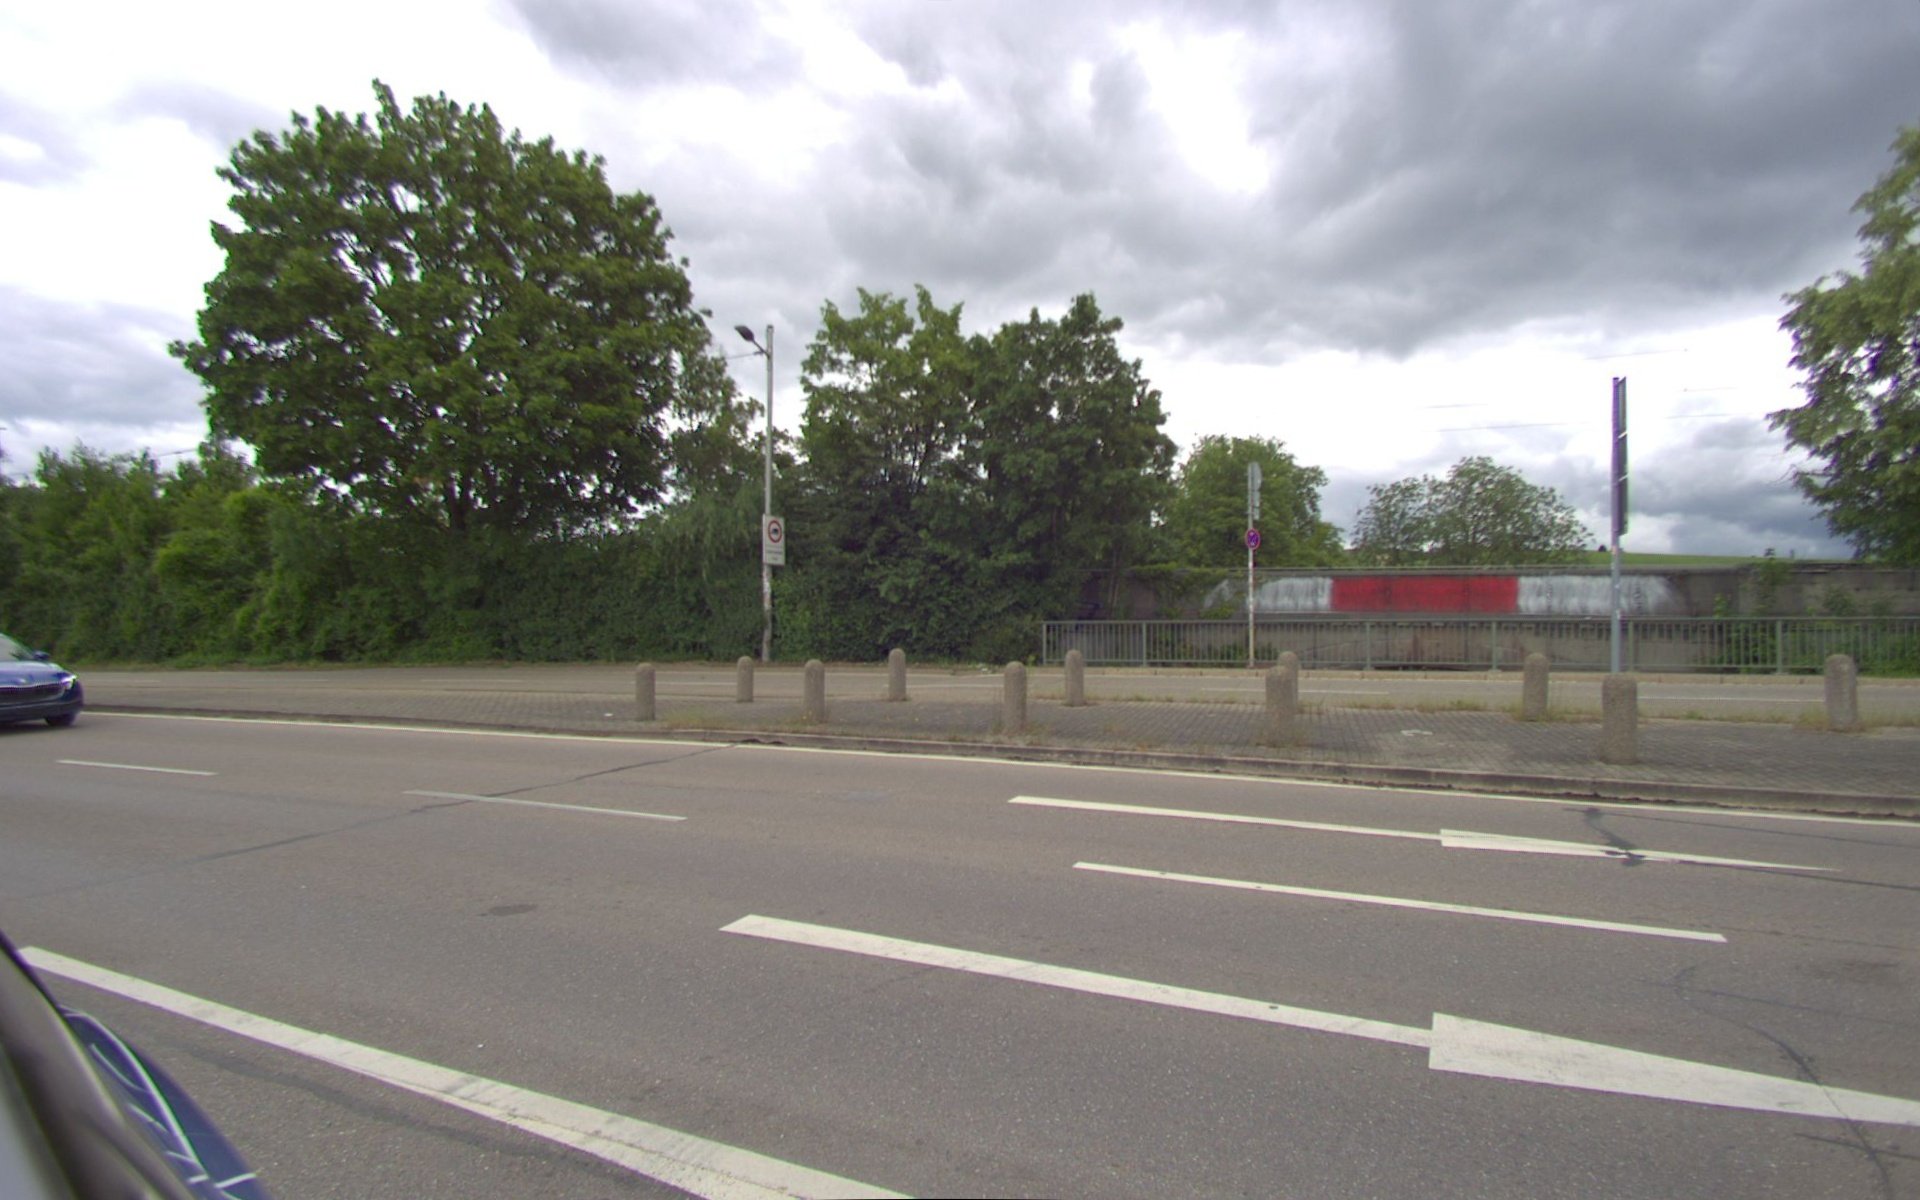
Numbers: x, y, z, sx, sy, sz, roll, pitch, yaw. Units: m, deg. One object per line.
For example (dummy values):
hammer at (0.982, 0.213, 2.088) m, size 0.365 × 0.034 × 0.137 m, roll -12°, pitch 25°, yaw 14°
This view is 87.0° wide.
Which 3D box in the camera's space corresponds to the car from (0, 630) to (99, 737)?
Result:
car at (-14.932, 1.204, 14.824) m, size 4.554 × 1.427 × 1.828 m, roll -2°, pitch -1°, yaw 25°
